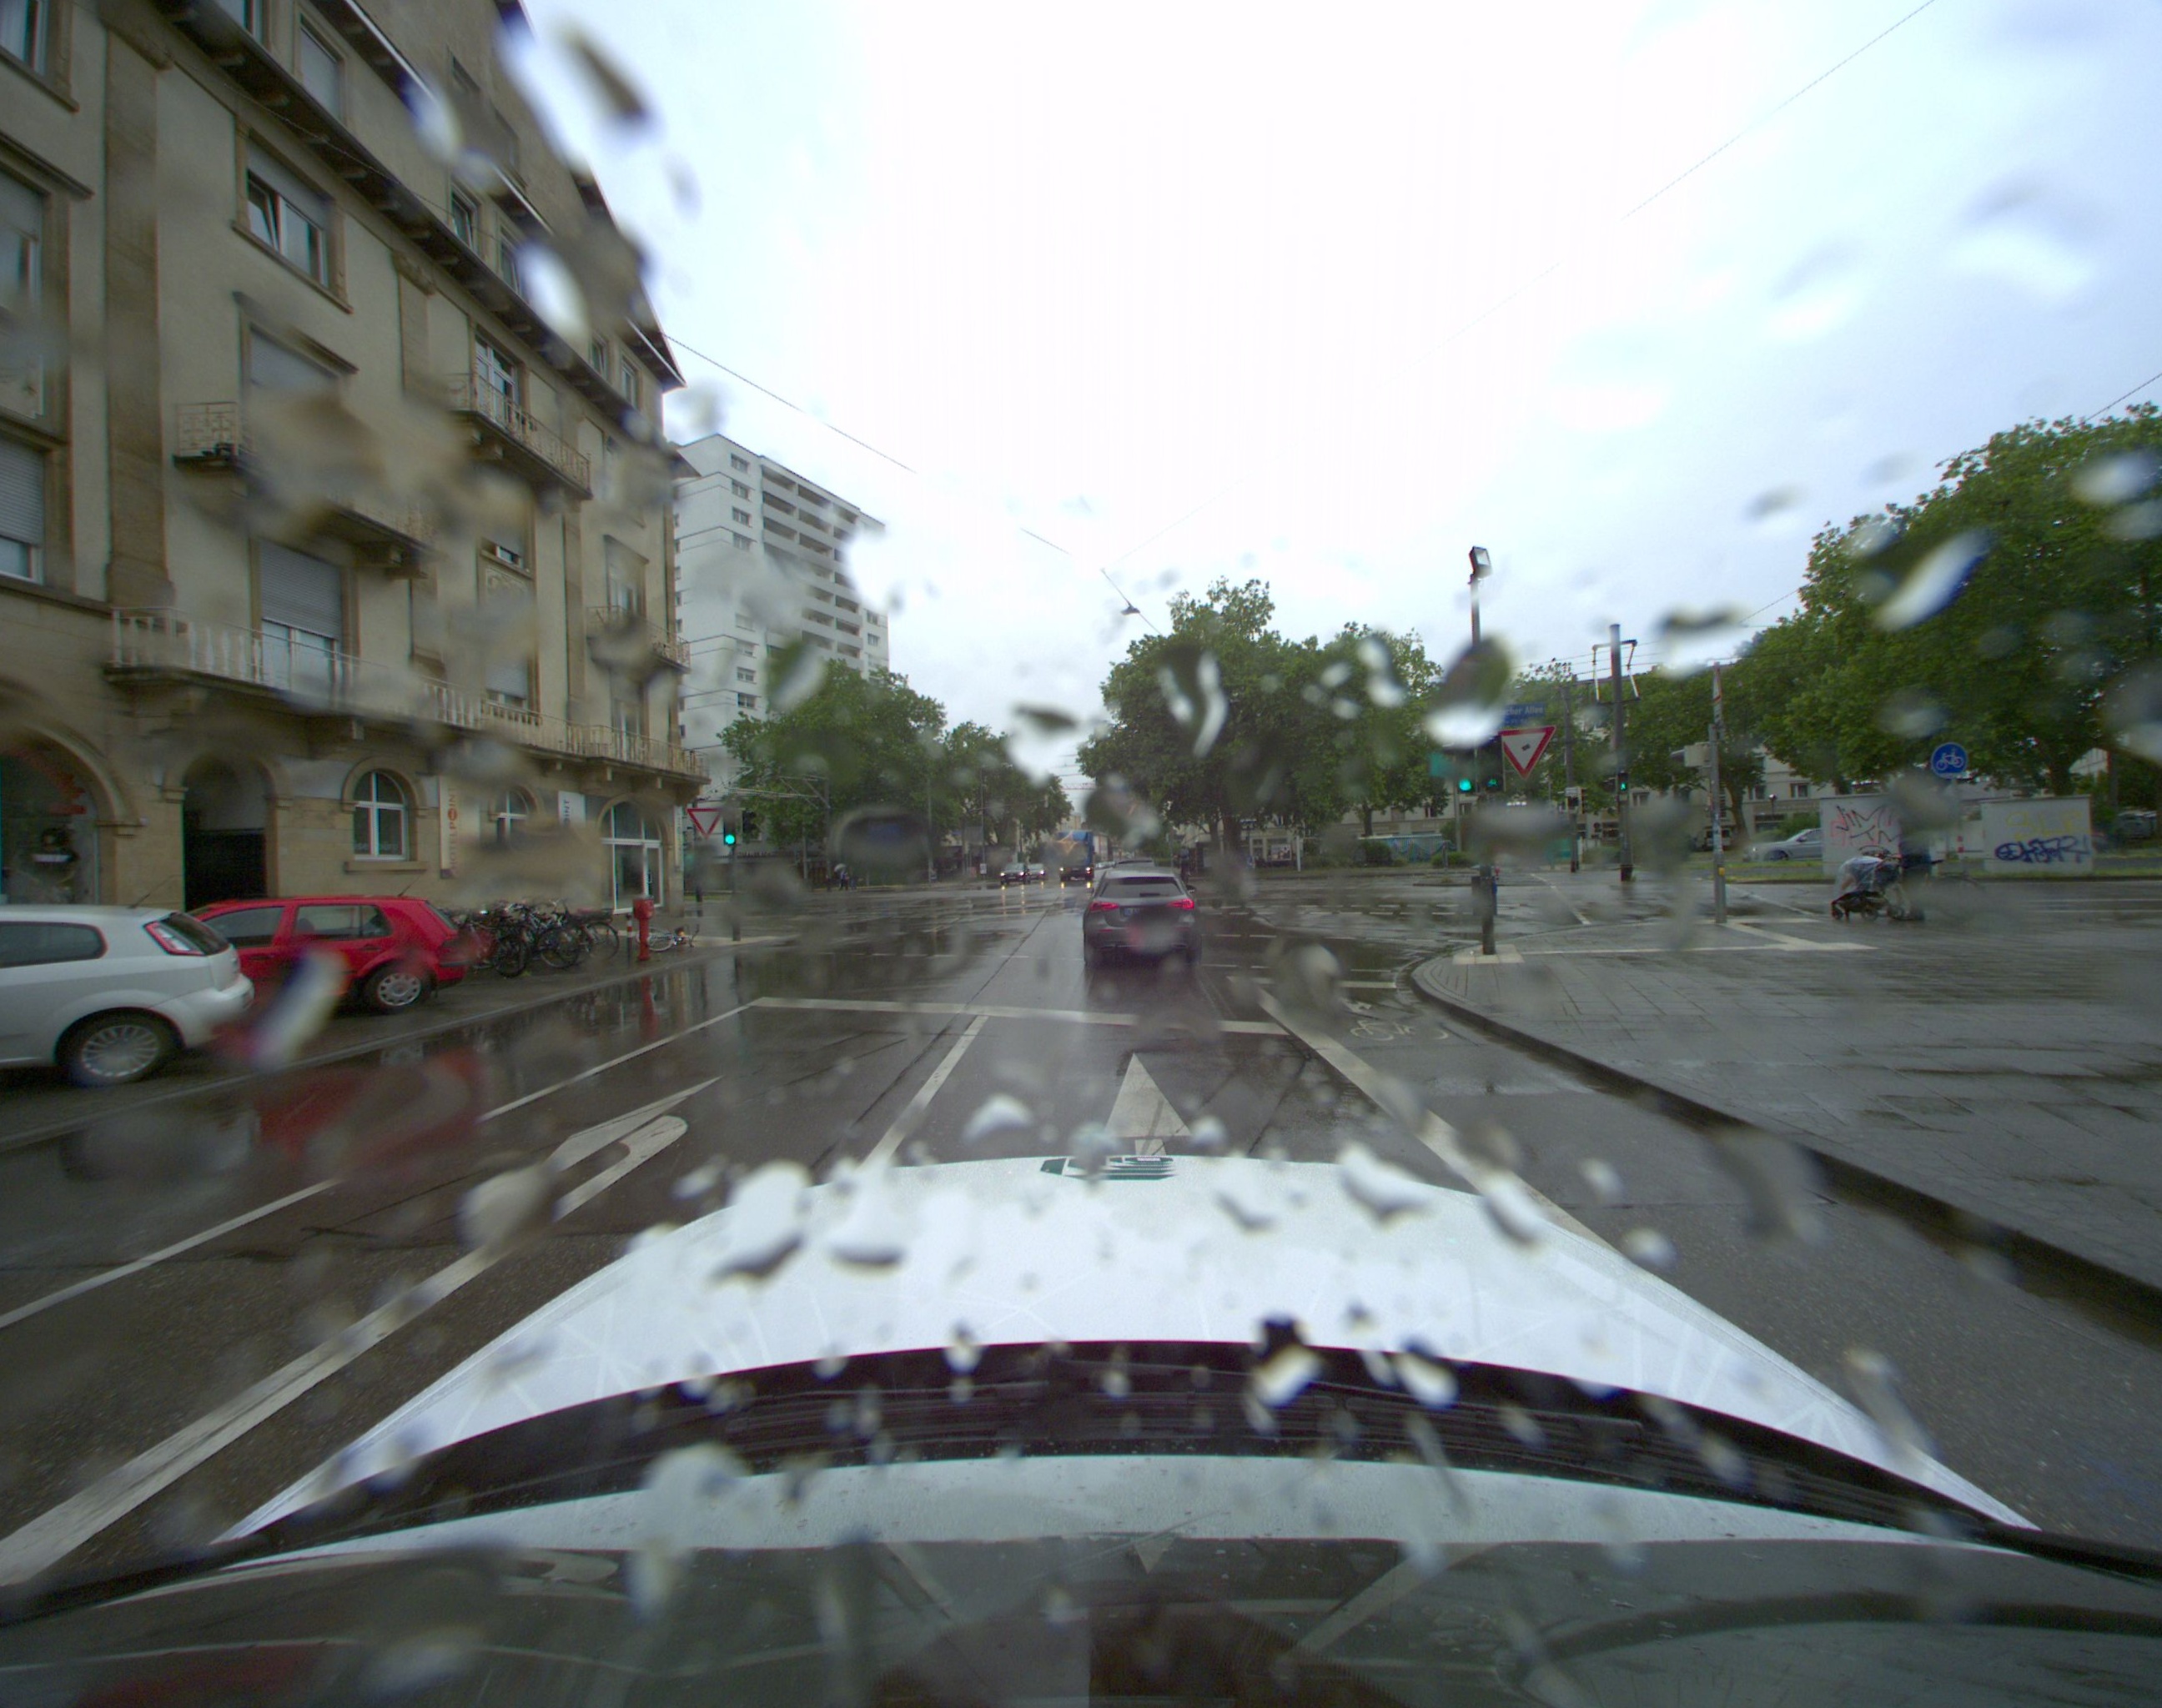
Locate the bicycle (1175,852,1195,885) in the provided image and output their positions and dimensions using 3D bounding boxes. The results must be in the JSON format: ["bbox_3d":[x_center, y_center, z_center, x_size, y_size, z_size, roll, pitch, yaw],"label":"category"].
[{"bbox_3d":[4.761,0.642,37.170,0.745,1.377,2.713,-4,-1,9],"label":"bicycle"}]

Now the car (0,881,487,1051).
[{"bbox_3d":[-9.652,1.140,9.677,4.022,1.508,1.782,0,-1,-43],"label":"car"}]

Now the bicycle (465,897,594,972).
[{"bbox_3d":[-9.300,1.351,13.766,1.804,1.185,0.475,1,-1,-1],"label":"bicycle"}]

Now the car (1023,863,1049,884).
[{"bbox_3d":[-3.650,1.599,67.085,1.720,1.546,4.341,-3,-1,1],"label":"car"}]

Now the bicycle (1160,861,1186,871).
[{"bbox_3d":[12.183,1.590,107.991,3.214,1.112,1.048,-2,-5,-17],"label":"bicycle"}]

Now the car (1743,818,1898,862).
[{"bbox_3d":[31.436,-0.583,34.792,4.499,1.599,1.802,-3,0,24],"label":"car"}]

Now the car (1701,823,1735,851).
[{"bbox_3d":[57.776,-1.515,73.932,1.535,2.204,4.122,-3,-3,26],"label":"car"}]

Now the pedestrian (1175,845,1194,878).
[{"bbox_3d":[4.712,0.337,37.000,0.740,1.398,1.049,-4,-1,9],"label":"pedestrian"}]

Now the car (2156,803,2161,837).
[{"bbox_3d":[58.017,-1.860,41.098,4.210,1.778,1.748,-3,-1,21],"label":"car"}]

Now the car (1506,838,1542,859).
[{"bbox_3d":[34.733,-0.434,63.928,1.650,1.521,3.695,-3,-1,17],"label":"car"}]

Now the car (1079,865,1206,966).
[{"bbox_3d":[0.933,0.901,13.376,1.784,1.372,3.508,-1,-1,2],"label":"car"}]

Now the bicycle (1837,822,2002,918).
[{"bbox_3d":[13.888,0.261,13.583,0.531,1.466,1.935,-3,0,-8],"label":"bicycle"}]

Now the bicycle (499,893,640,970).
[{"bbox_3d":[-10.373,1.552,16.571,2.335,1.346,0.639,-4,0,-4],"label":"bicycle"}]

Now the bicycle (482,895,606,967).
[{"bbox_3d":[-9.399,1.343,14.288,1.804,1.185,0.468,1,-1,-1],"label":"bicycle"}]

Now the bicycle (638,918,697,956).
[{"bbox_3d":[-8.605,1.701,16.928,1.045,0.663,1.464,0,-2,-29],"label":"bicycle"}]

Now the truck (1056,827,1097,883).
[{"bbox_3d":[-0.227,0.133,65.419,2.835,4.025,10.318,-3,-1,1],"label":"truck"}]

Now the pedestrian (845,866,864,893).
[{"bbox_3d":[-14.615,1.632,52.642,0.828,1.648,0.759,-4,-1,17],"label":"pedestrian"}]

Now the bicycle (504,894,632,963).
[{"bbox_3d":[-9.304,1.349,14.812,1.974,1.185,0.474,1,-1,-2],"label":"bicycle"}]

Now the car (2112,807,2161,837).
[{"bbox_3d":[60.460,-1.842,44.981,3.950,1.590,1.682,-3,-1,25],"label":"car"}]

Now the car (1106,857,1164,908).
[{"bbox_3d":[1.641,0.844,25.724,1.601,1.372,4.001,-3,-1,2],"label":"car"}]

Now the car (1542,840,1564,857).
[{"bbox_3d":[46.492,-0.525,80.264,1.535,1.467,3.386,-3,-3,26],"label":"car"}]

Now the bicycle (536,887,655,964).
[{"bbox_3d":[-9.154,1.348,15.379,1.967,1.330,0.438,-3,0,3],"label":"bicycle"}]

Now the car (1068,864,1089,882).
[{"bbox_3d":[-0.204,1.764,76.102,1.736,1.604,4.002,-3,-1,2],"label":"car"}]

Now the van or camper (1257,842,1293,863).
[{"bbox_3d":[21.811,-0.199,91.465,2.373,2.231,5.463,-3,-1,29],"label":"van or camper"}]

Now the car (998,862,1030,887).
[{"bbox_3d":[-4.572,1.370,56.055,1.737,1.546,3.779,-3,-1,1],"label":"car"}]

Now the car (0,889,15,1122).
[{"bbox_3d":[-9.137,1.117,4.191,4.105,1.692,1.744,0,0,-38],"label":"car"}]

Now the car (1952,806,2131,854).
[{"bbox_3d":[37.568,-0.912,32.003,4.127,1.599,1.789,-3,0,24],"label":"car"}]

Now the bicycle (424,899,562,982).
[{"bbox_3d":[-9.279,1.343,12.869,1.800,1.184,0.601,2,0,7],"label":"bicycle"}]

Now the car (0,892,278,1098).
[{"bbox_3d":[-9.617,1.187,6.767,4.013,1.533,1.685,-1,0,-38],"label":"car"}]

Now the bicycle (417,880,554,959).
[{"bbox_3d":[-11.290,1.228,15.477,2.052,1.346,0.584,-3,-1,-4],"label":"bicycle"}]

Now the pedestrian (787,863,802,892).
[{"bbox_3d":[-18.475,1.501,52.502,0.675,1.838,0.640,-3,-1,-1],"label":"pedestrian"}]

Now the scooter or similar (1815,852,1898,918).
[{"bbox_3d":[13.000,0.498,13.682,0.511,1.048,0.925,-3,0,4],"label":"scooter or similar"}]

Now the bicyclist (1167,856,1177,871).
[{"bbox_3d":[12.065,1.277,107.935,0.940,1.869,1.136,-2,-5,-17],"label":"bicyclist"}]

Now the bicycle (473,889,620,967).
[{"bbox_3d":[-10.403,1.424,15.894,2.335,1.346,0.639,-3,0,-4],"label":"bicycle"}]

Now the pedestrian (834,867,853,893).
[{"bbox_3d":[-15.715,1.705,53.963,0.785,1.648,0.820,-4,-1,17],"label":"pedestrian"}]

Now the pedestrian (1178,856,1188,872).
[{"bbox_3d":[10.522,1.017,83.976,0.668,1.669,0.710,-2,-1,-37],"label":"pedestrian"}]

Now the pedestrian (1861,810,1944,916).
[{"bbox_3d":[13.436,0.142,13.342,0.600,1.663,0.690,-3,0,5],"label":"pedestrian"}]

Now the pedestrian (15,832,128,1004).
[{"bbox_3d":[-14.329,0.881,11.568,0.838,2.340,0.768,-3,-1,24],"label":"pedestrian"}]

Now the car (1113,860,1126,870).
[{"bbox_3d":[6.295,1.860,134.570,1.987,1.574,4.000,-3,-1,1],"label":"car"}]

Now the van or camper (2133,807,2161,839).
[{"bbox_3d":[55.341,-1.635,39.646,4.615,1.599,2.011,-3,0,21],"label":"van or camper"}]
